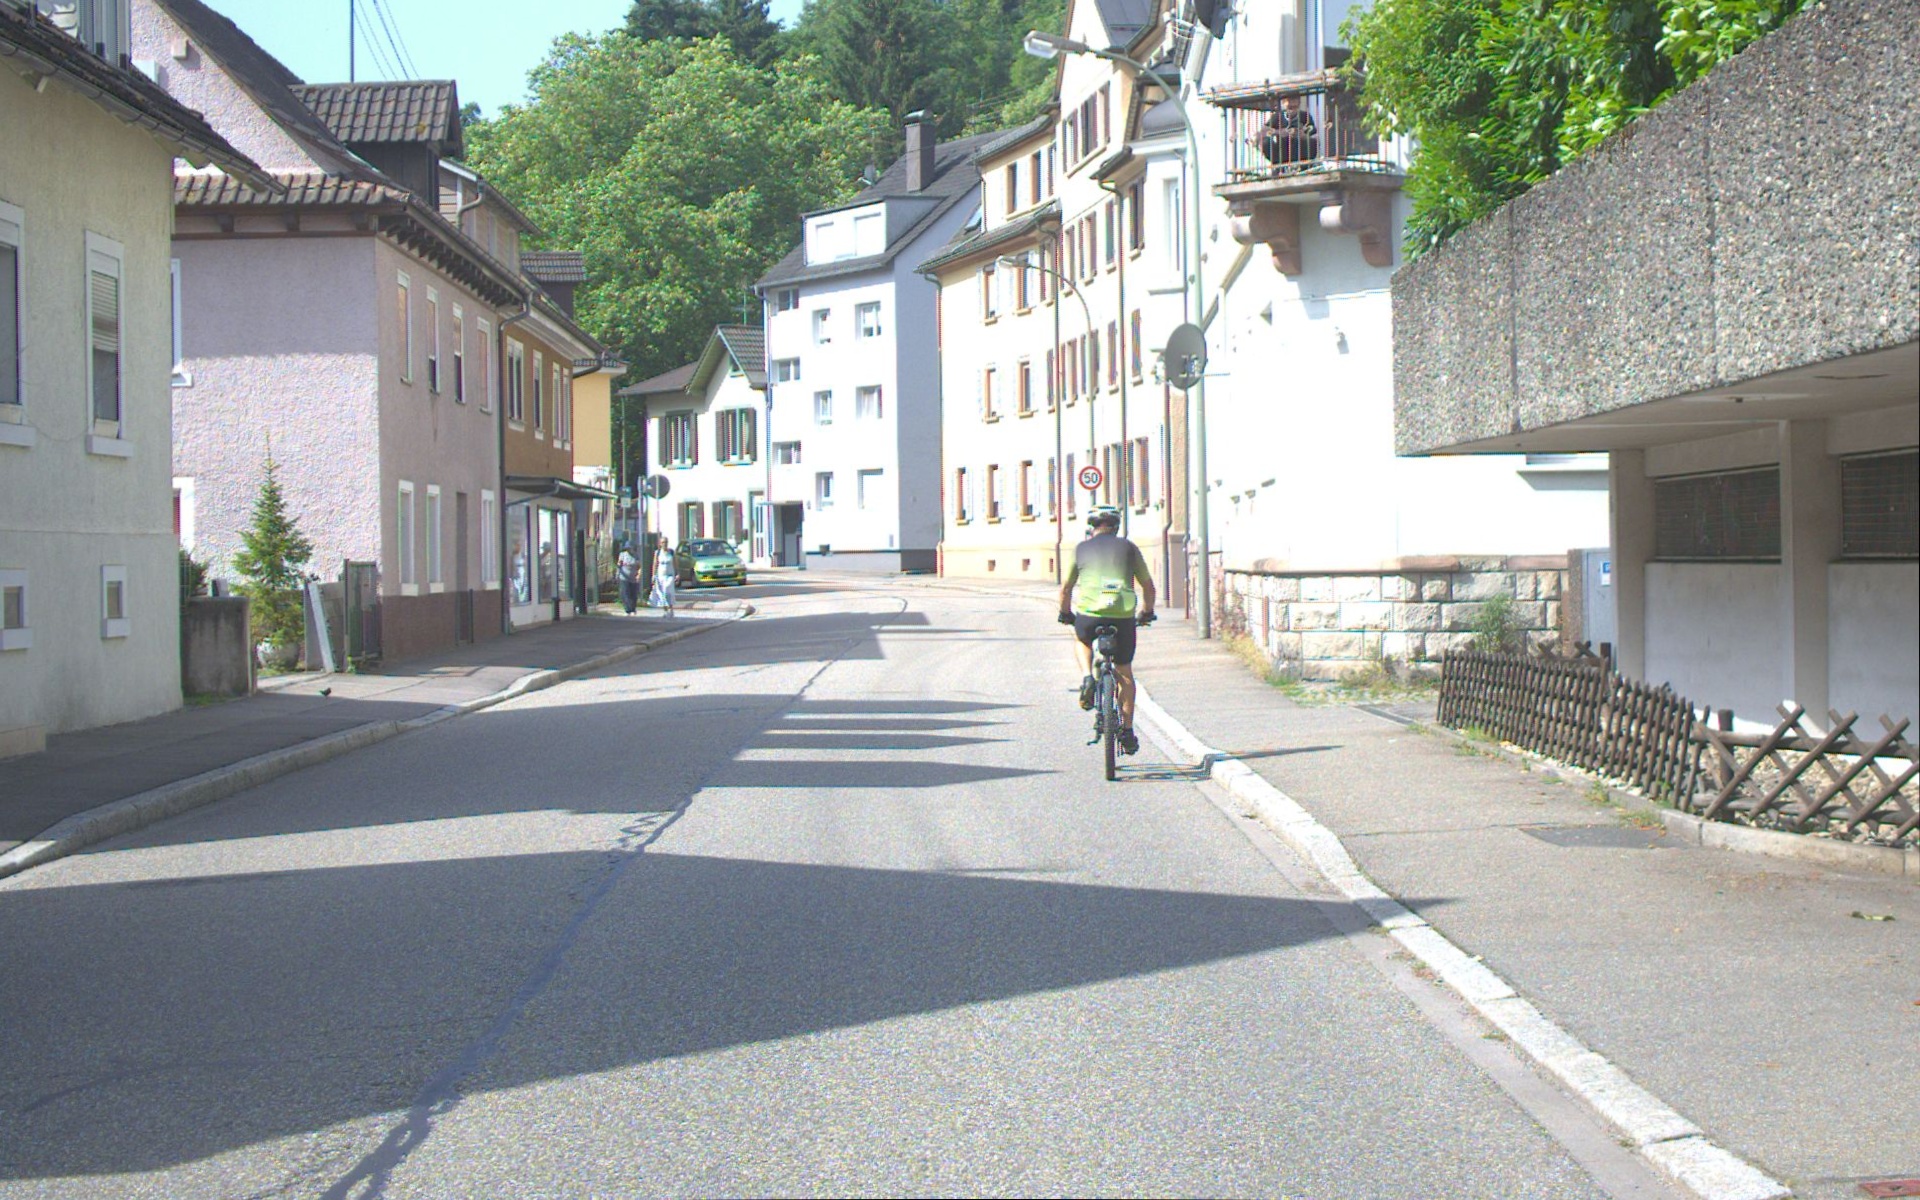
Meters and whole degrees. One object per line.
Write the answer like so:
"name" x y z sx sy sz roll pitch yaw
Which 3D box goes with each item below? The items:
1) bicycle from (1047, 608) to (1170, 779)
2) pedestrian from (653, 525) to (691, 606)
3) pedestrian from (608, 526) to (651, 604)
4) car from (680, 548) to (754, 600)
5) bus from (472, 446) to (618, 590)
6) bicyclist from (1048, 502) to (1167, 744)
"bicycle" 0.953 0.587 22.340 0.698 1.032 1.471 0 1 -1
"pedestrian" -5.880 -0.713 70.265 0.639 1.621 0.777 2 1 1
"pedestrian" -6.766 -0.716 70.402 0.735 1.559 0.824 2 1 1
"car" -7.404 -0.802 104.559 1.596 1.459 3.661 -4 1 -13
"bus" -9.835 -1.959 82.302 2.820 3.217 9.037 1 1 -3
"bicyclist" 0.948 0.139 22.229 0.685 1.526 0.716 -1 1 -1
